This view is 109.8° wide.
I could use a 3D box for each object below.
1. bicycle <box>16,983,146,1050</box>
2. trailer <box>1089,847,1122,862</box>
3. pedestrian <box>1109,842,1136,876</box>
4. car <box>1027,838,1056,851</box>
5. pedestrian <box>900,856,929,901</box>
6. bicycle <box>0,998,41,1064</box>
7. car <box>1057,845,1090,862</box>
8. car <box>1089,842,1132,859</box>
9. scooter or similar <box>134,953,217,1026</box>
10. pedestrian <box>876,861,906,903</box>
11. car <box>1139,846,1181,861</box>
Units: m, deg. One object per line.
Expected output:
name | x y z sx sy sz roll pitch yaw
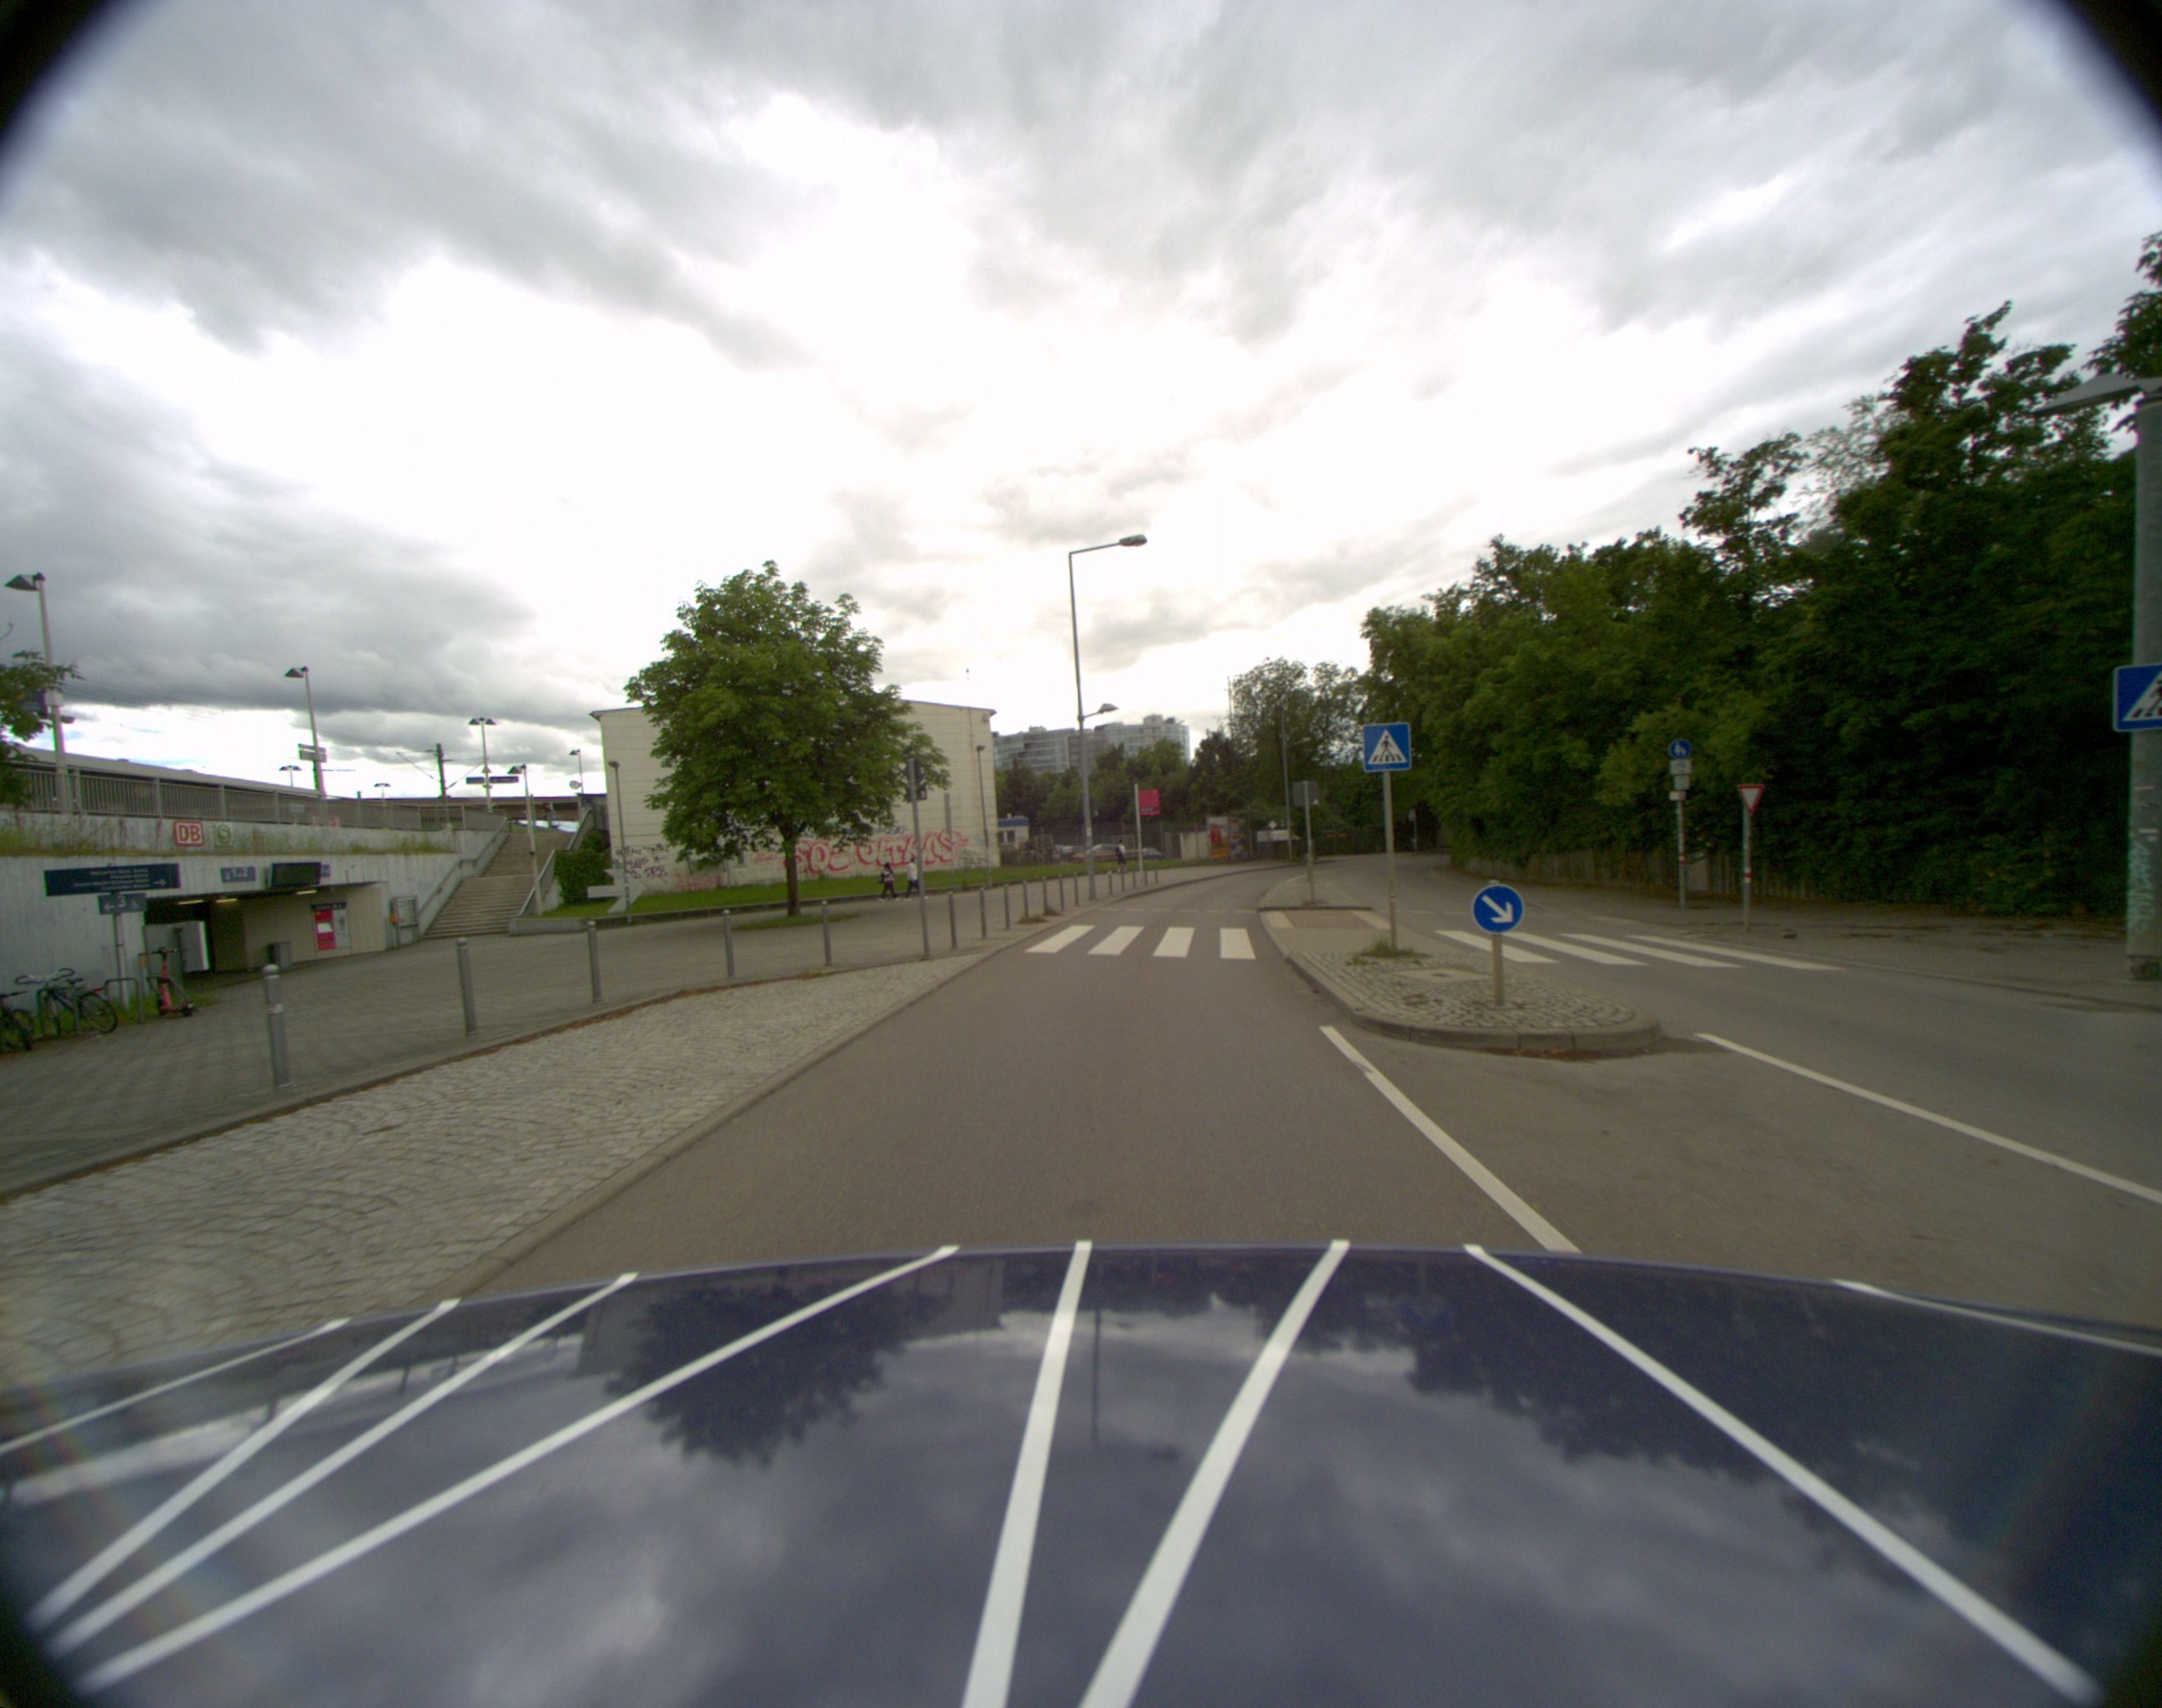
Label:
bicycle | -15.883 2.582 12.065 1.969 0.860 0.511 -6 0 16
trailer | 2.067 0.044 64.254 1.851 1.131 2.634 -3 1 -21
pedestrian | 2.125 0.240 38.791 0.941 1.675 0.848 -6 4 -39
car | -4.231 -0.957 80.744 1.532 1.324 3.674 -2 1 -30
pedestrian | -6.531 0.962 29.821 0.750 1.693 0.814 -5 3 -35
bicycle | -15.693 2.549 10.875 1.577 0.849 0.464 -5 0 19
car | -0.707 -0.053 69.480 1.809 1.369 3.791 -4 2 -20
car | 2.818 -0.378 72.985 3.816 1.523 1.561 -1 2 -25
scooter or similar | -16.228 2.426 13.617 1.189 1.199 0.469 -5 1 19
pedestrian | -7.577 1.094 30.288 0.803 1.575 0.800 -5 3 -35
car | 6.947 -0.042 66.574 3.375 1.245 1.468 0 1 -25
